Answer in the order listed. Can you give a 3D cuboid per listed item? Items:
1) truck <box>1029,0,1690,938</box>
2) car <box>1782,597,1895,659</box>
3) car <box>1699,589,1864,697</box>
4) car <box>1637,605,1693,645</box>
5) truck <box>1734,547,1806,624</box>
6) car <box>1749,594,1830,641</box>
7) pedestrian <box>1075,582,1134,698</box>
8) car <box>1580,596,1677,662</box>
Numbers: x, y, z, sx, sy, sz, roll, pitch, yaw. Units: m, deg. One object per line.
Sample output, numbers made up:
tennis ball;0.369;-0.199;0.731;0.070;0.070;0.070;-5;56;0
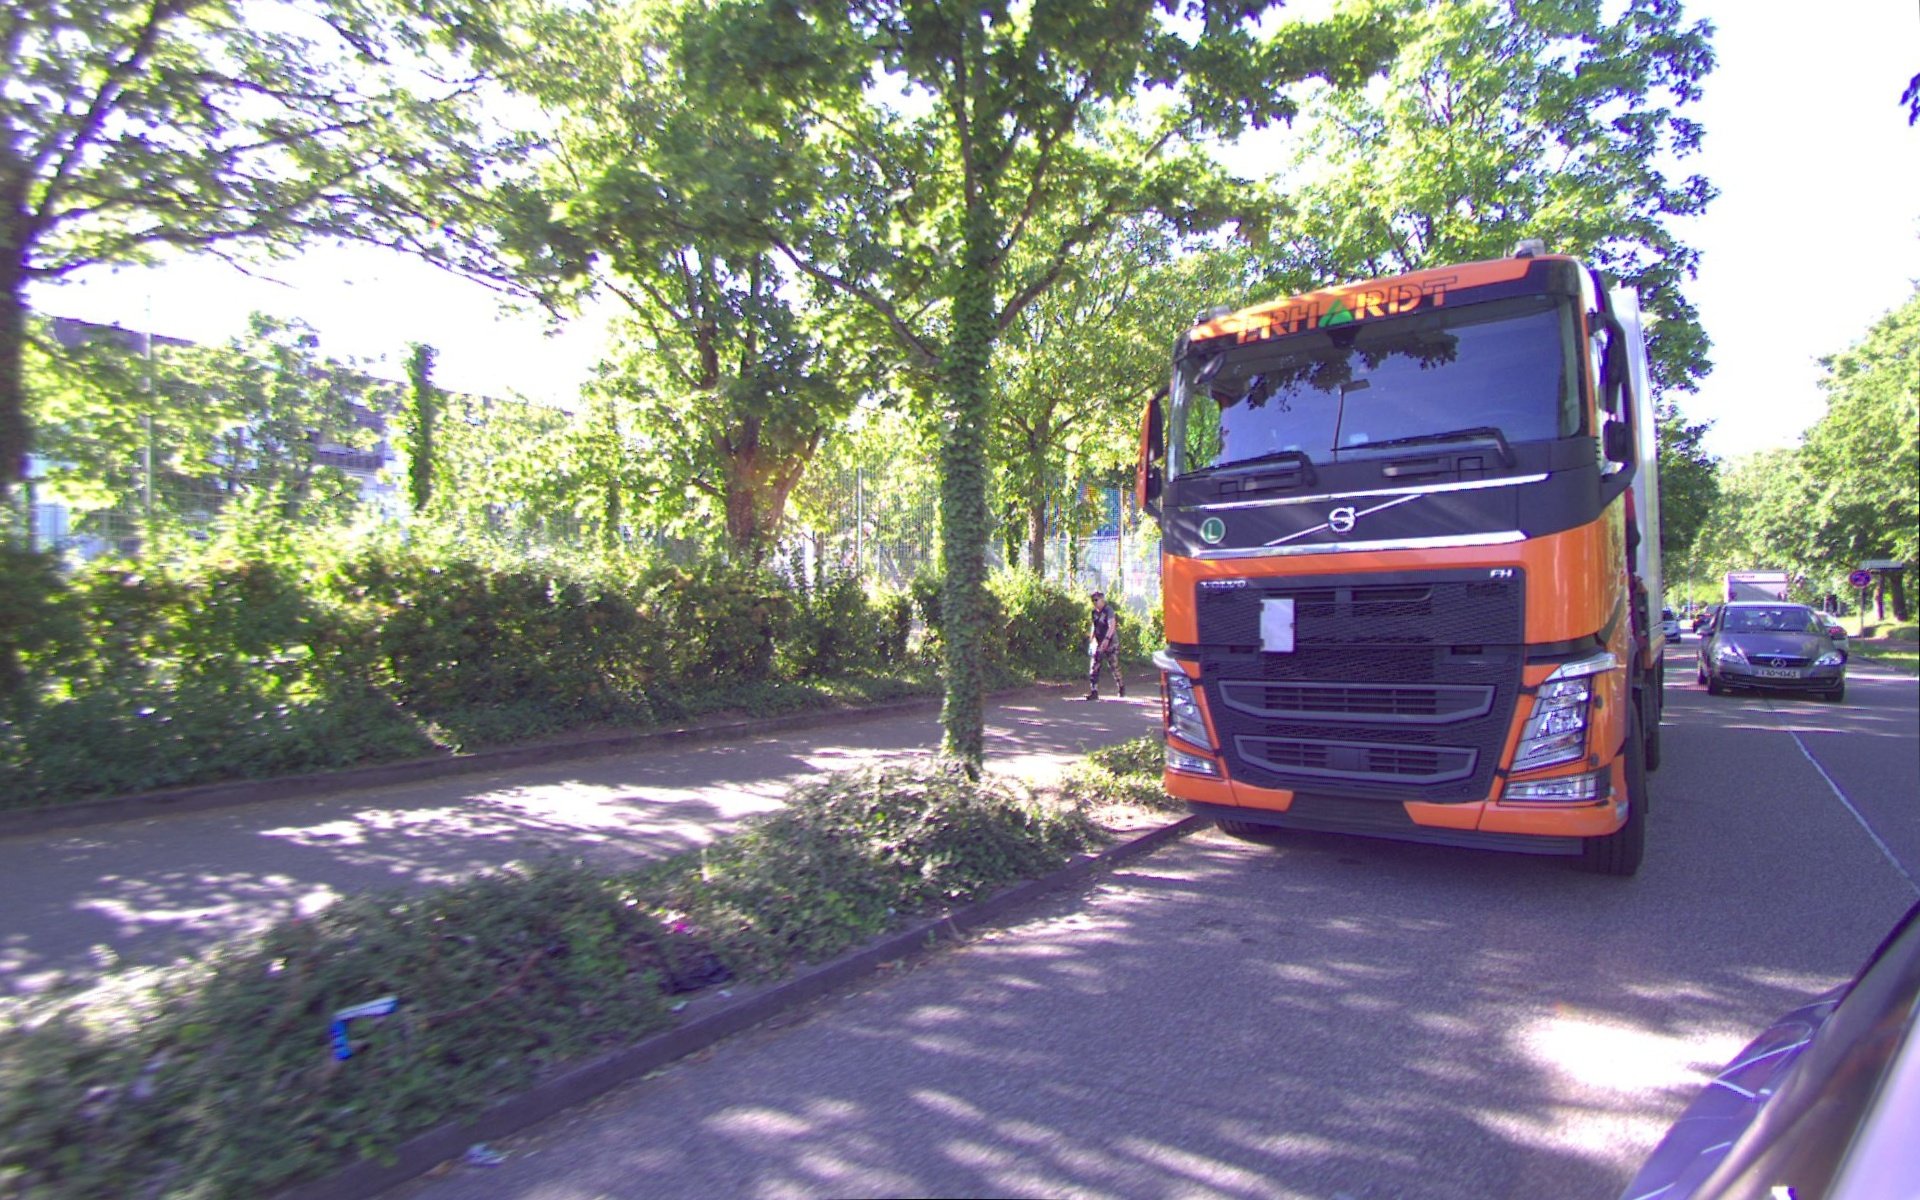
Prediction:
truck;4.784;-0.736;9.479;3.150;4.400;10.442;0;-1;37
car;24.840;0.752;28.758;1.987;1.605;3.949;0;-1;35
car;14.161;0.684;17.654;1.843;1.666;3.710;0;-1;33
car;31.859;1.079;45.818;1.986;1.730;4.277;0;-1;34
truck;46.355;-0.865;58.112;2.789;4.068;9.499;2;2;37
car;29.910;0.612;36.601;1.964;1.605;3.949;0;-1;35
pedestrian;2.149;0.578;15.021;0.639;1.659;0.632;-1;-1;39
car;17.379;0.705;26.431;1.966;1.575;4.104;0;-1;32
